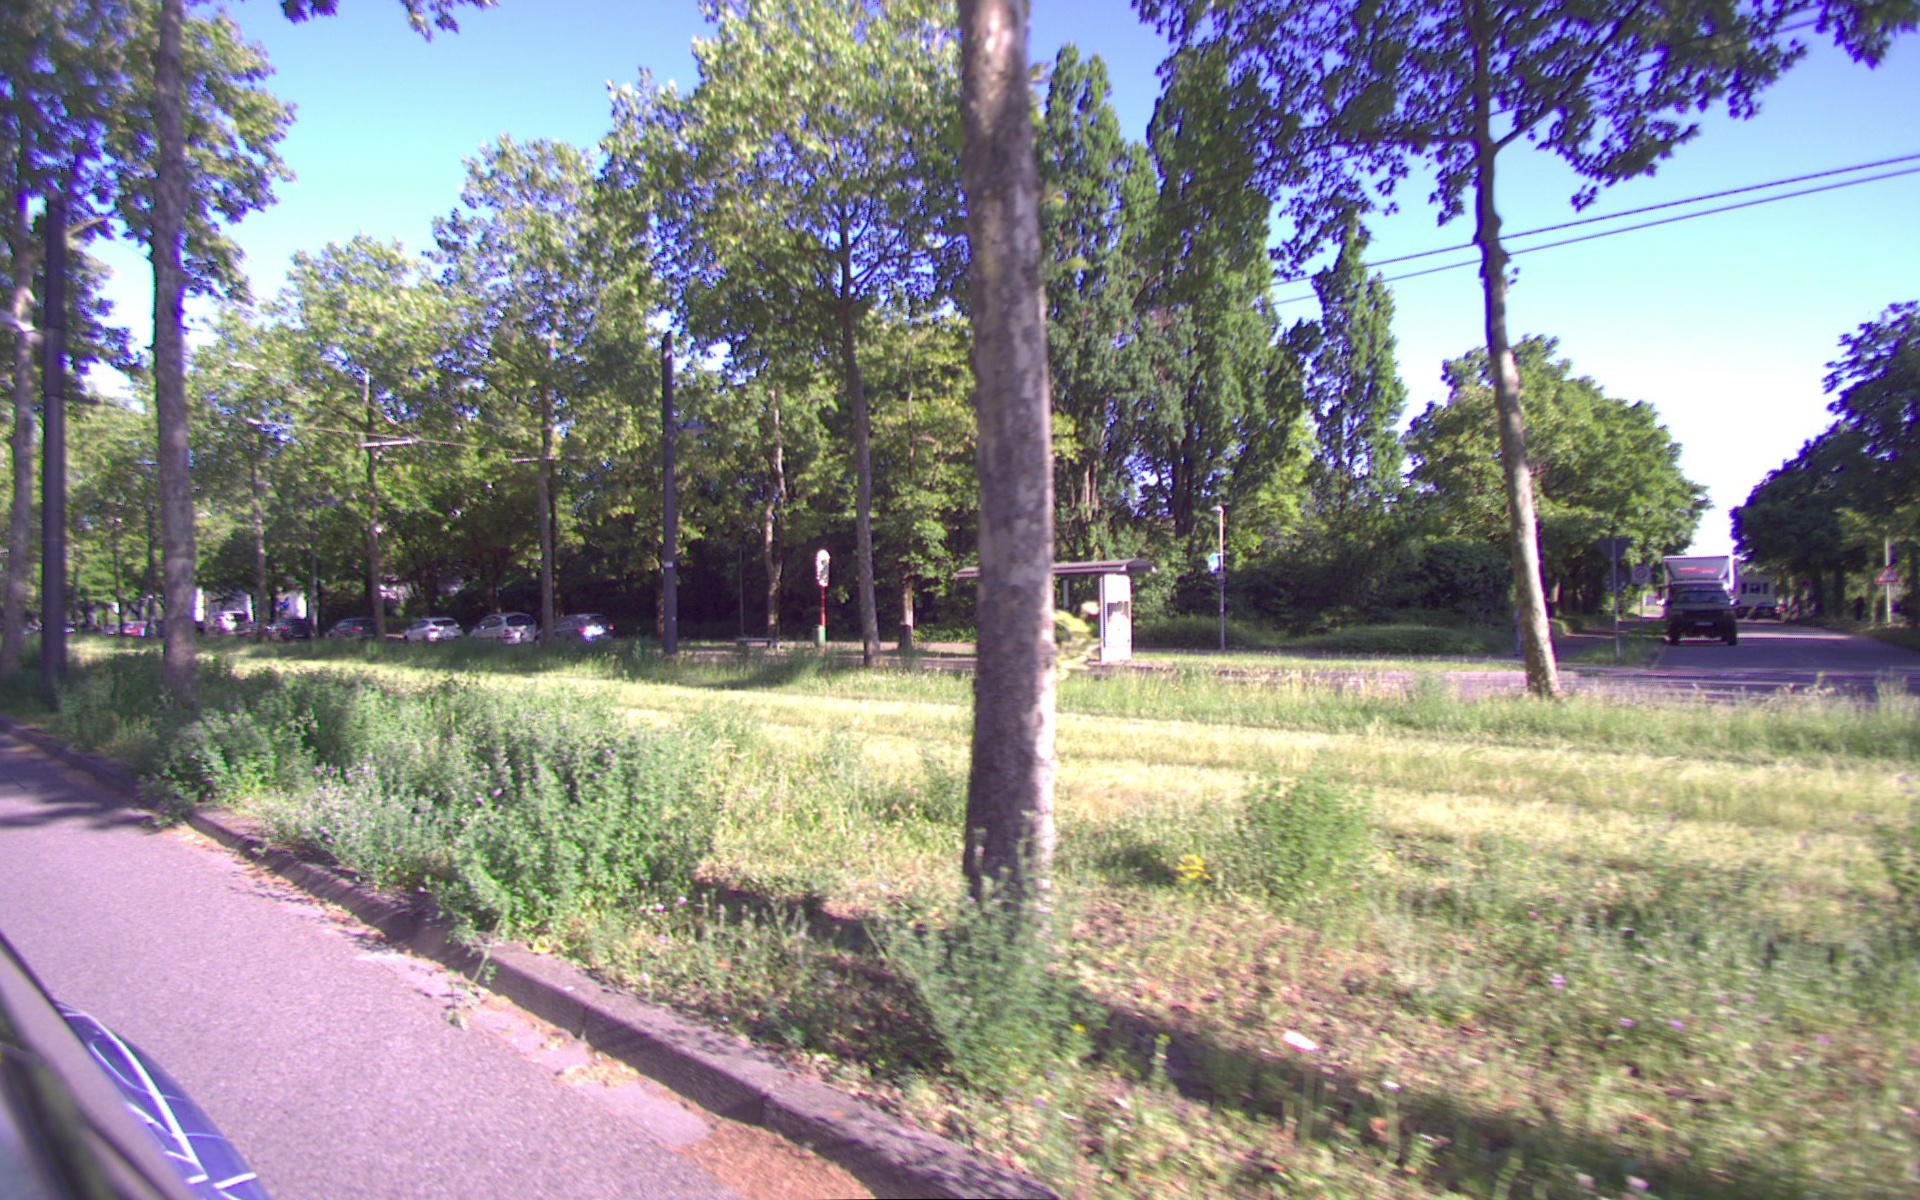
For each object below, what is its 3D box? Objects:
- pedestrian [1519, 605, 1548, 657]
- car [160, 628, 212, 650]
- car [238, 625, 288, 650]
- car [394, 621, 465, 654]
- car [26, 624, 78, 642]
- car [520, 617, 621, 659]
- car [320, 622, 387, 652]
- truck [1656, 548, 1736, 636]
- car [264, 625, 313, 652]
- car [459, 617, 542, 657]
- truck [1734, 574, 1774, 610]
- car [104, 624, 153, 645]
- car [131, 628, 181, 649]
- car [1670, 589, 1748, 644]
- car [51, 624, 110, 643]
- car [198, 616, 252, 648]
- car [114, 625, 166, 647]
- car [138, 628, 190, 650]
[{"bbox_3d":[16.953,0.899,29.937,0.527,1.502,0.588,-2,1,-42],"label":"pedestrian"},{"bbox_3d":[-62.585,3.141,81.913,1.857,1.579,4.011,-1,1,-14],"label":"car"},{"bbox_3d":[-46.470,2.471,67.477,3.814,1.507,1.732,-1,3,40],"label":"car"},{"bbox_3d":[-26.675,1.864,50.857,4.021,1.429,1.702,-1,3,41],"label":"car"},{"bbox_3d":[-100.463,3.637,112.014,1.820,1.721,3.990,-1,1,8],"label":"car"},{"bbox_3d":[-16.261,1.544,42.169,4.624,1.499,1.879,-1,3,41],"label":"car"},{"bbox_3d":[-34.490,2.103,57.528,4.174,1.499,1.821,-1,3,38],"label":"car"},{"bbox_3d":[34.569,-0.327,47.758,2.740,3.779,8.416,-1,0,34],"label":"truck"},{"bbox_3d":[-42.384,2.399,63.864,3.567,1.499,1.526,-1,3,40],"label":"car"},{"bbox_3d":[-21.052,1.667,46.350,4.187,1.608,1.797,-1,3,41],"label":"car"},{"bbox_3d":[73.881,-0.812,94.229,2.518,3.218,6.464,-1,1,35],"label":"truck"},{"bbox_3d":[-79.051,3.232,96.282,1.868,1.721,4.512,-1,1,-14],"label":"car"},{"bbox_3d":[-67.980,3.219,85.640,1.857,1.579,4.011,-1,1,-14],"label":"car"},{"bbox_3d":[28.726,0.592,38.975,2.220,1.963,6.080,-1,0,35],"label":"car"},{"bbox_3d":[-92.227,3.519,106.191,1.878,1.721,4.489,-1,1,8],"label":"car"},{"bbox_3d":[-52.012,2.215,71.582,4.274,2.072,1.963,-1,3,39],"label":"car"},{"bbox_3d":[-74.120,3.211,91.529,1.868,1.721,4.512,-1,1,-14],"label":"car"},{"bbox_3d":[-65.177,3.188,82.950,1.857,1.579,4.011,-1,1,-14],"label":"car"}]
